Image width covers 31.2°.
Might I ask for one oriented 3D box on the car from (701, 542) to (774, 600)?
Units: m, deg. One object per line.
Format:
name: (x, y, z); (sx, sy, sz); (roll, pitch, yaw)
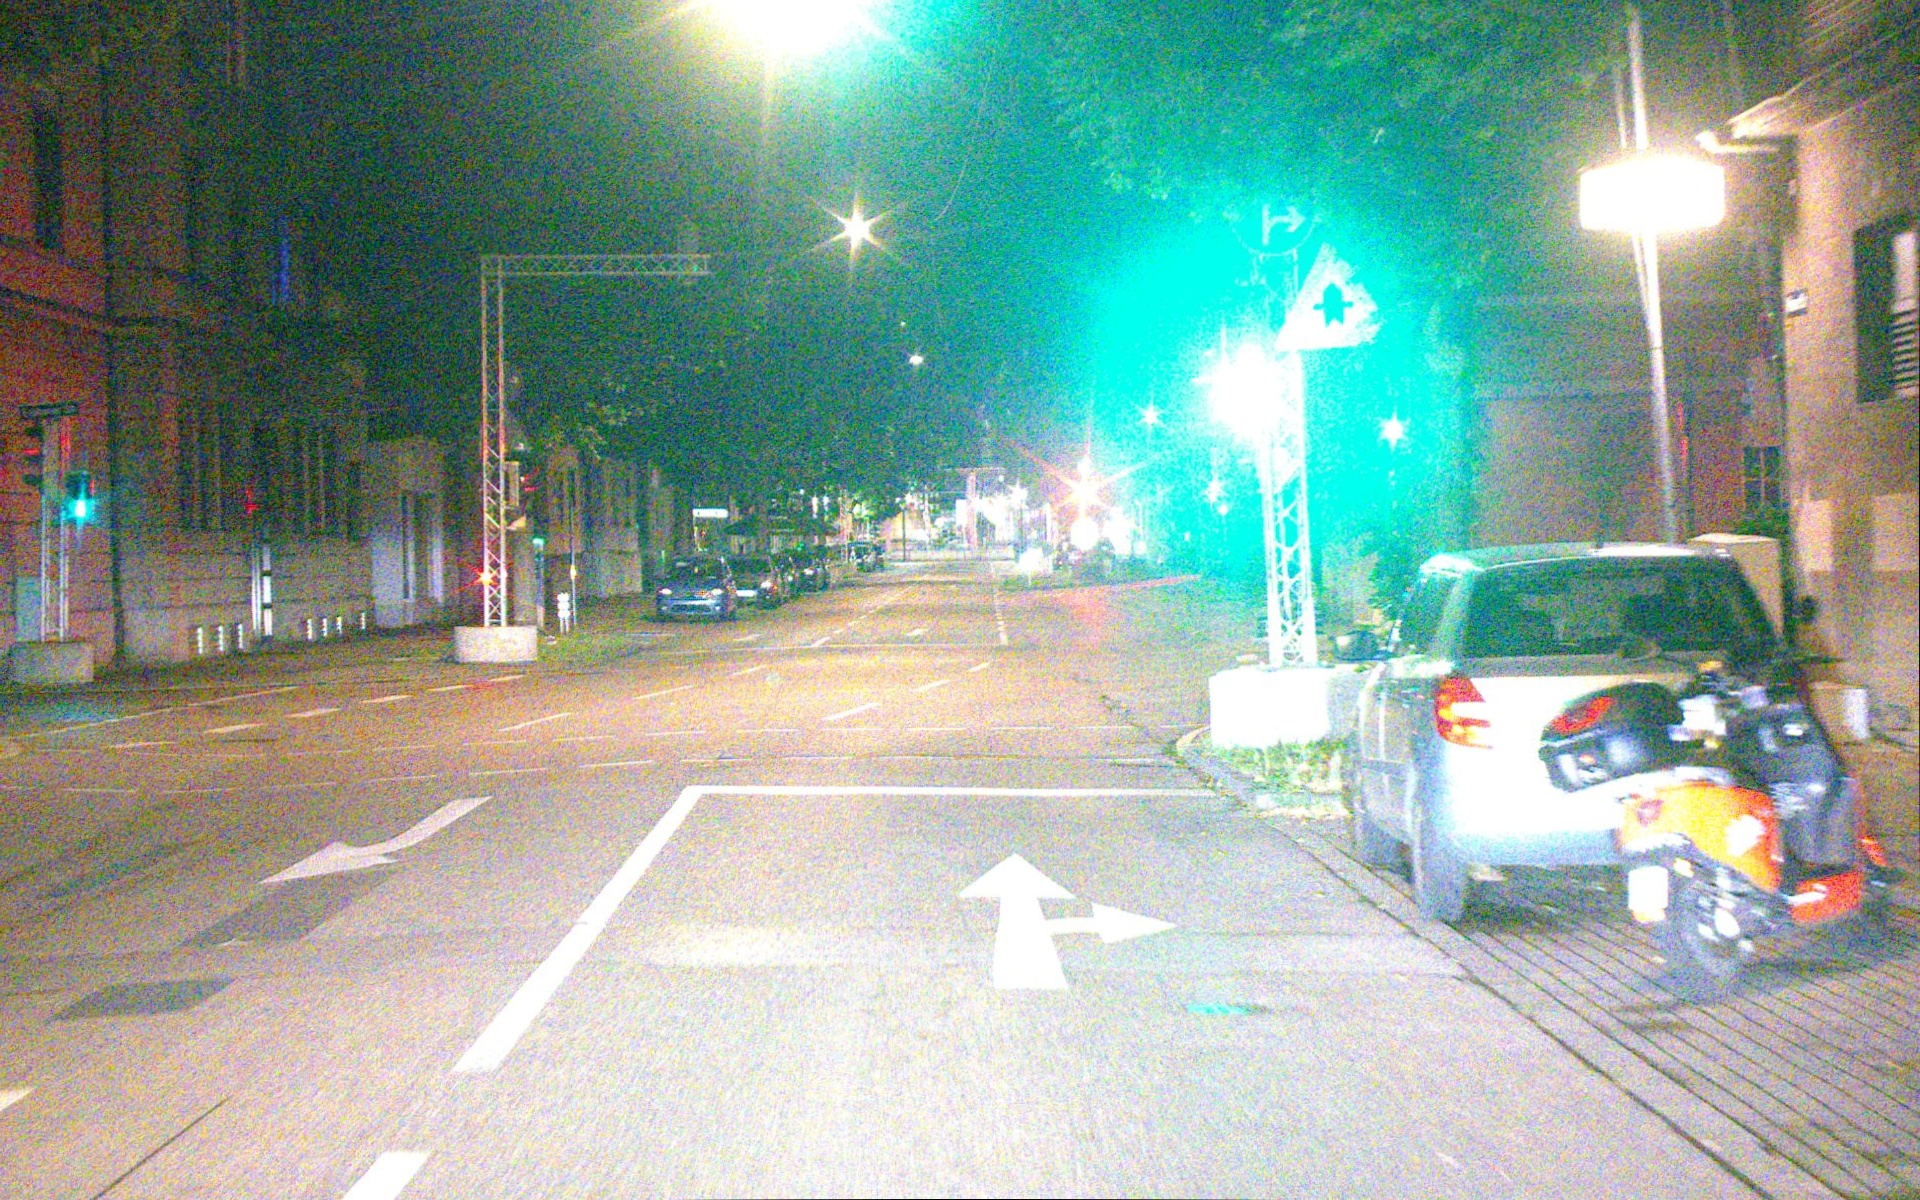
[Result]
car: (-6.120, -0.808, 95.011); (1.768, 1.480, 4.768); (-2, 1, -1)

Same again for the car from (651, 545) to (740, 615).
car: (-6.038, -0.432, 78.808); (1.714, 1.489, 3.989); (-1, -1, 0)

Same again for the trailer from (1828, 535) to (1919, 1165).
trailer: (3.015, 0.597, 7.321); (1.601, 1.490, 3.733); (0, 1, 4)

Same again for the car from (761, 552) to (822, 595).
car: (-5.929, -0.956, 121.613); (1.899, 1.466, 4.452); (0, 1, 1)

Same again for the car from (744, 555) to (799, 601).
car: (-5.943, -0.704, 108.452); (1.622, 1.378, 4.452); (-2, 1, -2)

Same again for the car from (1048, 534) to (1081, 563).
car: (5.492, -2.686, 179.865); (1.651, 1.426, 4.000); (-2, 1, 2)

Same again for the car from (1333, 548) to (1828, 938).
car: (2.569, 0.519, 15.002); (1.587, 1.456, 3.797); (-1, 1, 2)

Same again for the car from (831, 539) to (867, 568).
car: (-5.723, -2.390, 177.291); (1.651, 1.426, 4.000); (-2, 1, 0)

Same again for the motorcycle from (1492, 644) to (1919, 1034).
motorcycle: (2.612, 0.748, 11.674); (0.728, 1.127, 2.223); (0, 1, 33)
